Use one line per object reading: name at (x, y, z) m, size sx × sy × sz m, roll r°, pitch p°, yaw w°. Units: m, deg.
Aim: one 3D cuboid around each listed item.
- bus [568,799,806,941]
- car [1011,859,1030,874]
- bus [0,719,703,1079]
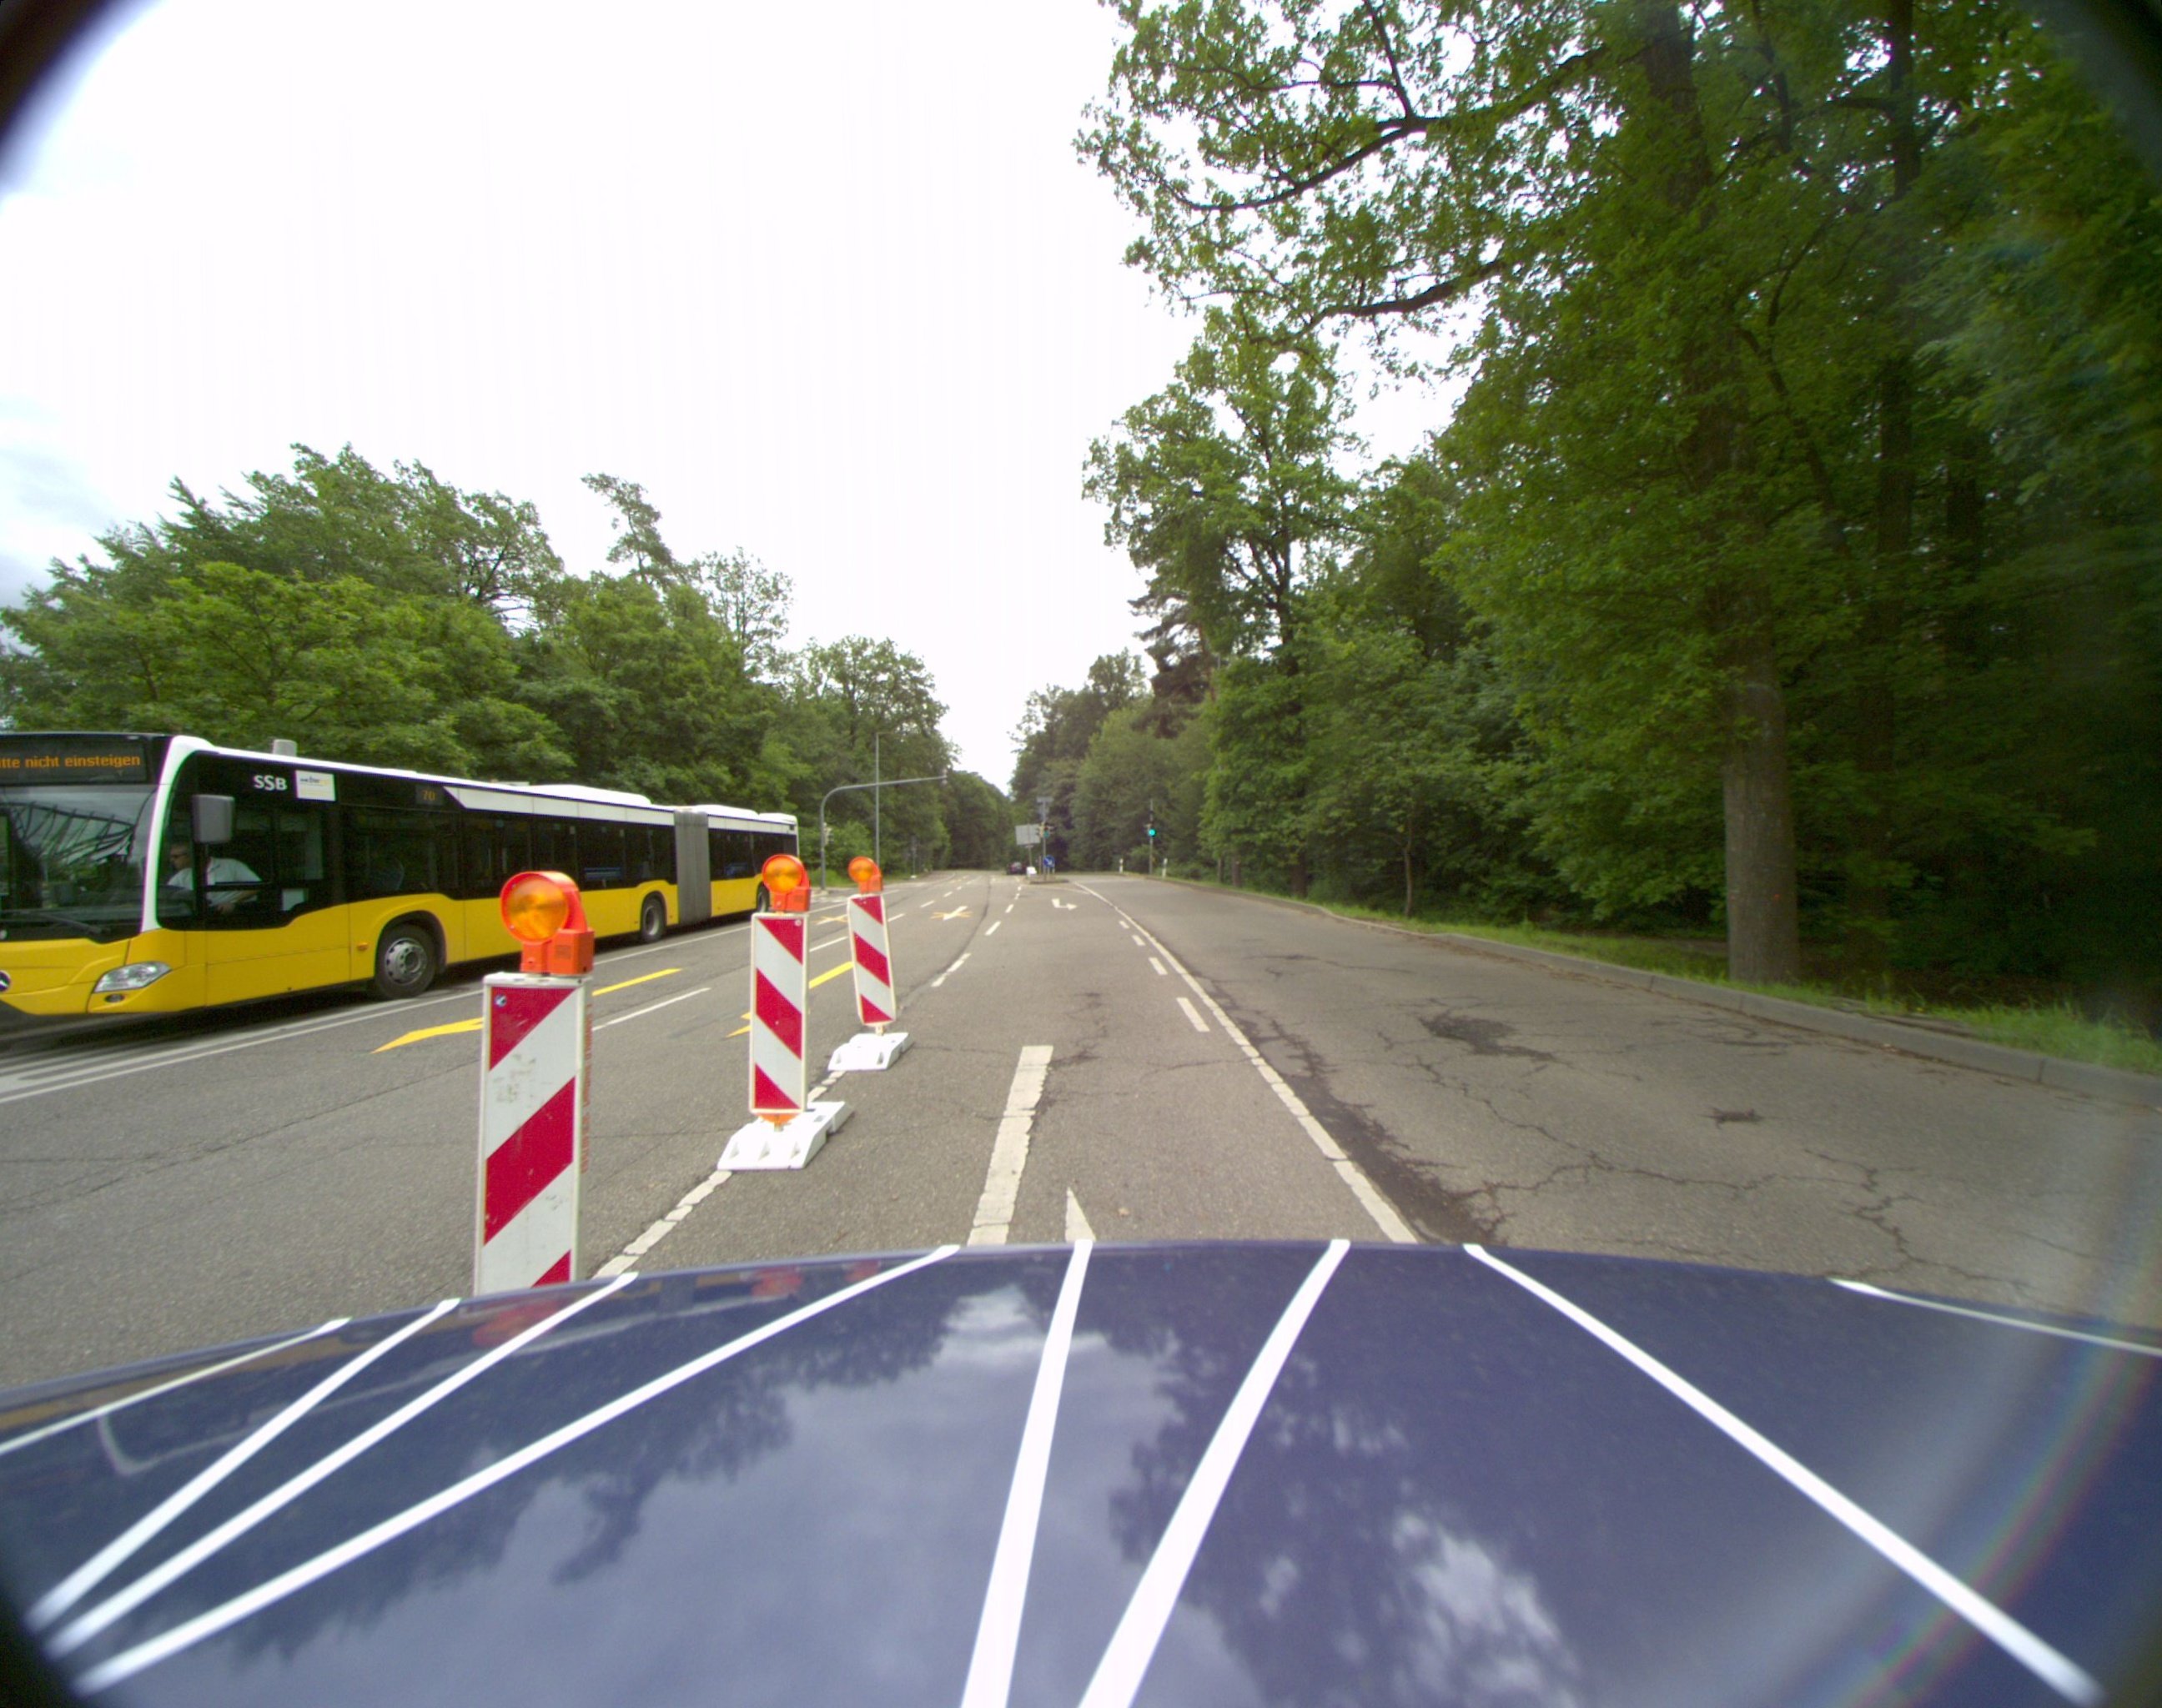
bus at (-10.289, 0.346, 21.044) m, size 2.811 × 3.141 × 7.754 m, roll -2°, pitch 0°, yaw -3°
car at (-6.346, 1.307, 79.143) m, size 1.752 × 1.323 × 3.997 m, roll -2°, pitch 1°, yaw -6°
bus at (-9.826, 0.390, 11.913) m, size 2.810 × 3.141 × 10.515 m, roll -2°, pitch 0°, yaw -2°
